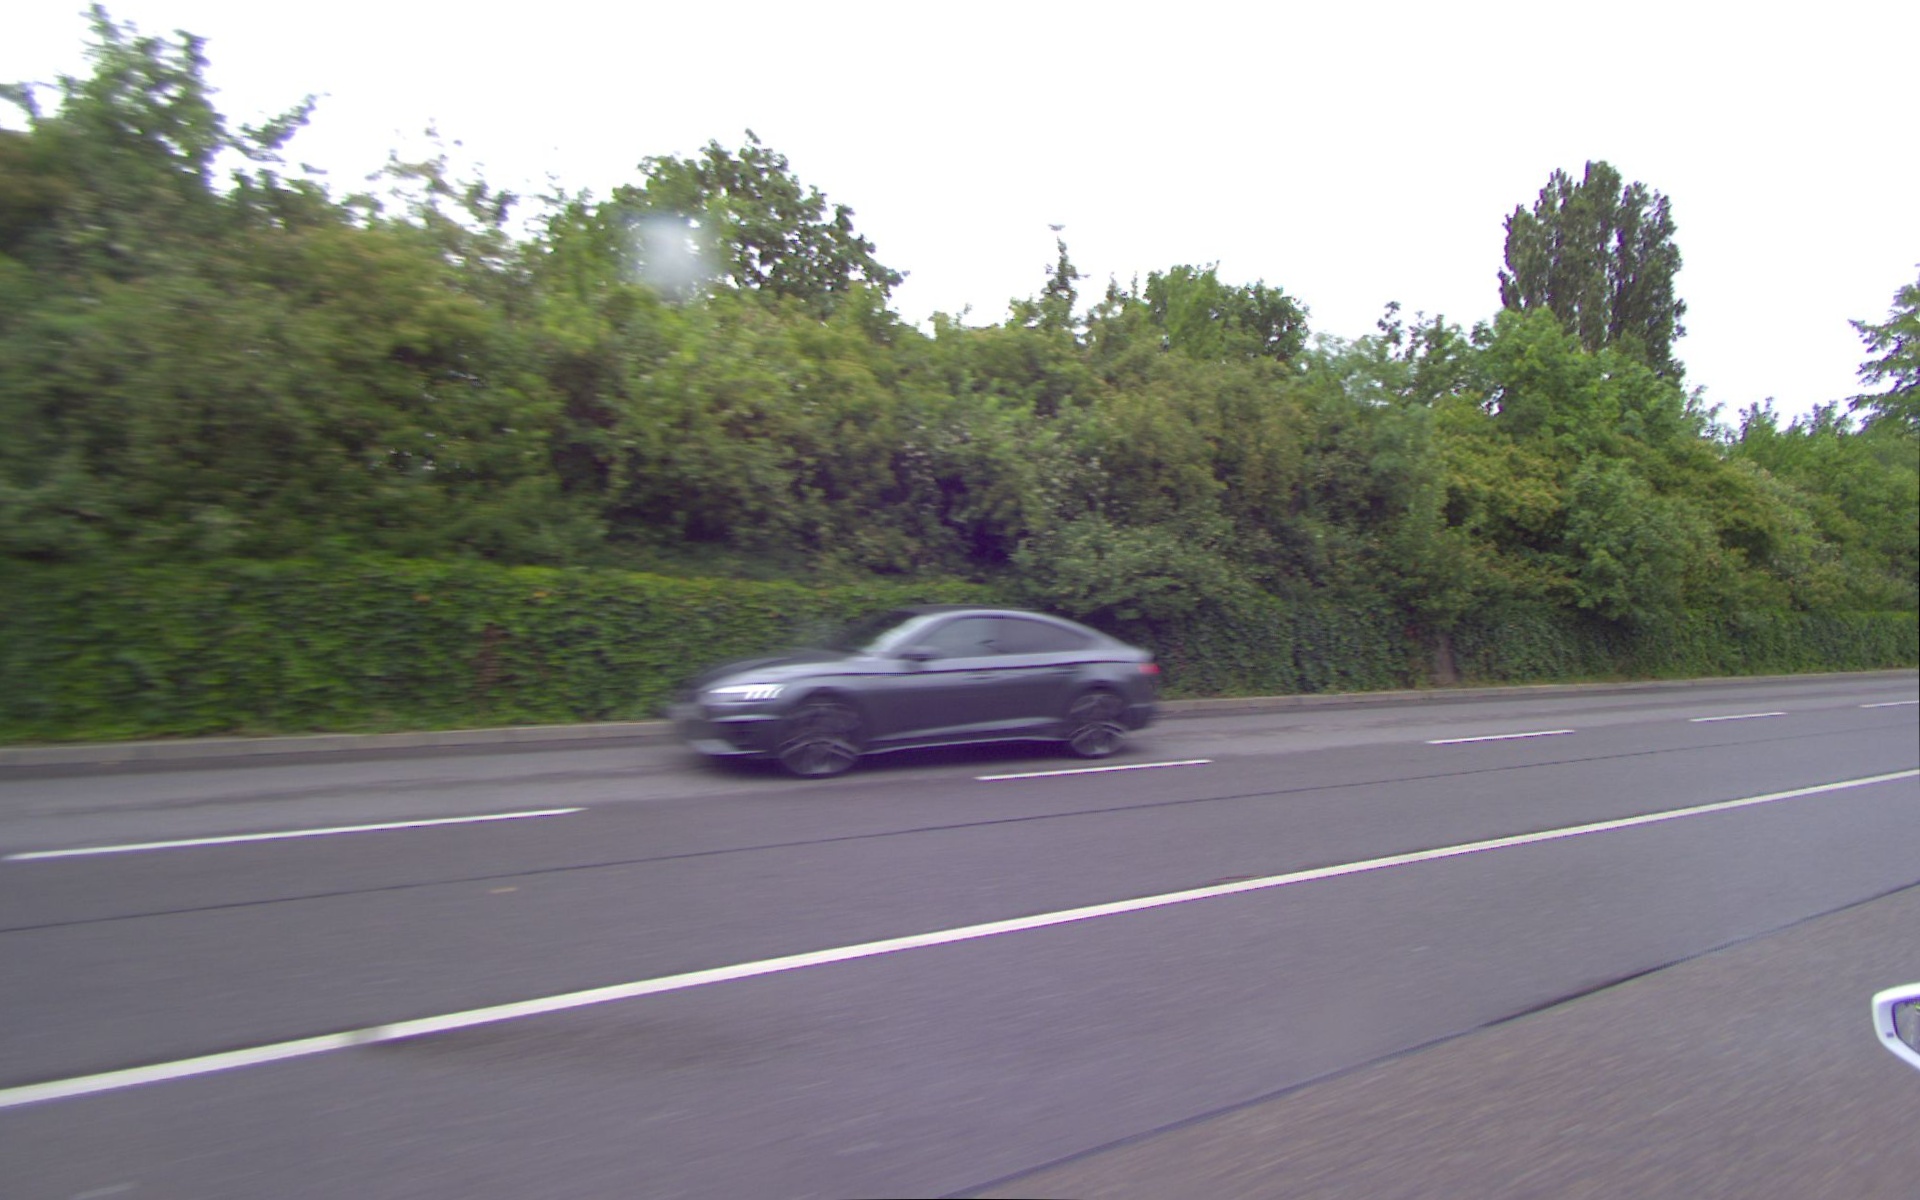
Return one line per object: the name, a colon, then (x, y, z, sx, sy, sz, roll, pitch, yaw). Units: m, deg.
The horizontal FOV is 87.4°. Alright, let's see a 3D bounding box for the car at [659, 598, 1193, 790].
car: (-0.205, 0.722, 9.459, 4.781, 1.399, 1.751, 1, 1, -30)
